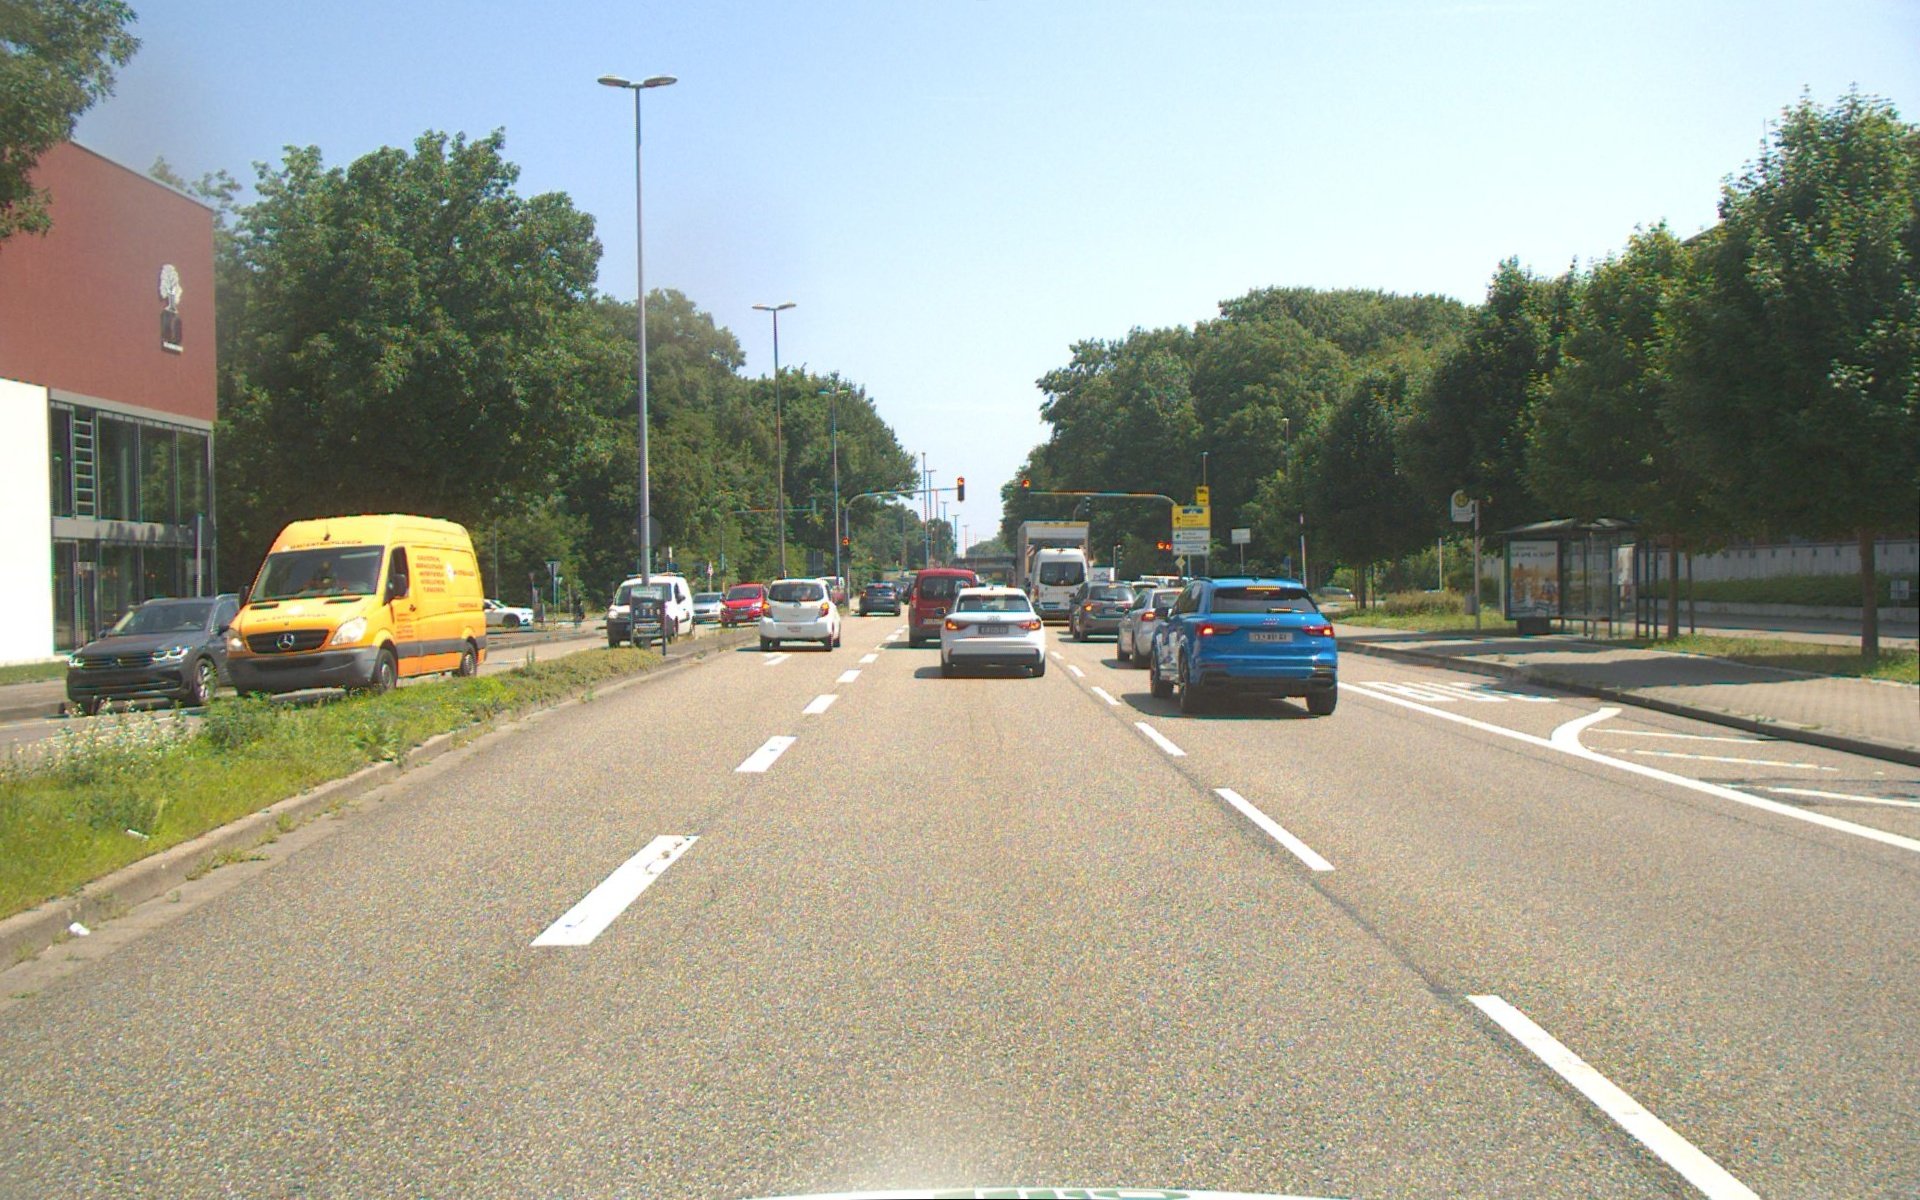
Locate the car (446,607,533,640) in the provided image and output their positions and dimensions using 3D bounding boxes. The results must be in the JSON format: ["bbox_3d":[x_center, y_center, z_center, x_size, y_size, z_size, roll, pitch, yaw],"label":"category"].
[{"bbox_3d":[-25.487,1.264,89.743,4.288,1.711,1.807,1,0,-8],"label":"car"}]

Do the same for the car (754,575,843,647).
[{"bbox_3d":[-3.579,0.209,37.281,1.677,1.519,4.091,0,1,-1],"label":"car"}]

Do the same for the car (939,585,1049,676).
[{"bbox_3d":[0.510,0.459,28.036,1.677,1.410,4.091,0,1,-1],"label":"car"}]

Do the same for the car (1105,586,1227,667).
[{"bbox_3d":[3.783,0.439,30.935,1.677,1.386,4.091,1,0,-1],"label":"car"}]

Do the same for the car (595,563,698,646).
[{"bbox_3d":[-8.173,0.091,43.513,1.814,1.938,4.425,-4,1,-1],"label":"car"}]

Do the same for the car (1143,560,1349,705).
[{"bbox_3d":[3.480,0.344,20.916,1.800,1.623,4.400,0,1,-1],"label":"car"}]

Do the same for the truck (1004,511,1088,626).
[{"bbox_3d":[3.540,-1.299,70.812,3.025,4.511,11.580,0,1,0],"label":"truck"}]

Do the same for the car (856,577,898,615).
[{"bbox_3d":[-3.697,-0.203,74.057,1.738,1.670,4.036,0,0,-1],"label":"car"}]

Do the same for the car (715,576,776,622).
[{"bbox_3d":[-8.226,-0.064,63.709,1.713,1.597,4.153,-3,1,0],"label":"car"}]

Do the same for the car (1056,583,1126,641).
[{"bbox_3d":[3.834,0.325,49.047,1.677,1.621,4.091,0,1,-1],"label":"car"}]

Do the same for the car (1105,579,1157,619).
[{"bbox_3d":[7.105,-0.061,68.932,1.677,1.573,4.091,0,1,-1],"label":"car"}]

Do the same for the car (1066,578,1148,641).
[{"bbox_3d":[3.821,0.225,43.612,1.677,1.504,4.091,2,0,-1],"label":"car"}]

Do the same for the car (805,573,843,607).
[{"bbox_3d":[-8.559,-0.643,104.486,1.953,1.979,4.907,-3,1,-1],"label":"car"}]

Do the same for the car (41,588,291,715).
[{"bbox_3d":[-11.890,0.701,25.112,1.681,1.631,4.213,-4,1,0],"label":"car"}]

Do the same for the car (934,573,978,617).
[{"bbox_3d":[-0.195,-0.205,65.567,1.677,1.660,4.091,0,0,-1],"label":"car"}]

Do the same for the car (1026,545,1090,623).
[{"bbox_3d":[3.479,-0.589,59.537,1.989,2.690,4.845,0,0,0],"label":"car"}]

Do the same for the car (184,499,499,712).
[{"bbox_3d":[-8.724,0.028,24.103,2.219,2.612,6.057,-3,1,0],"label":"car"}]

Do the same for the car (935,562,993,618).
[{"bbox_3d":[0.085,-0.309,51.128,1.677,1.660,4.091,0,0,-1],"label":"car"}]

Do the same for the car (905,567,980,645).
[{"bbox_3d":[-0.434,0.116,39.509,1.677,1.779,4.091,0,0,-1],"label":"car"}]

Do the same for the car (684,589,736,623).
[{"bbox_3d":[-11.594,0.258,76.825,1.742,1.428,4.359,-4,1,-1],"label":"car"}]
